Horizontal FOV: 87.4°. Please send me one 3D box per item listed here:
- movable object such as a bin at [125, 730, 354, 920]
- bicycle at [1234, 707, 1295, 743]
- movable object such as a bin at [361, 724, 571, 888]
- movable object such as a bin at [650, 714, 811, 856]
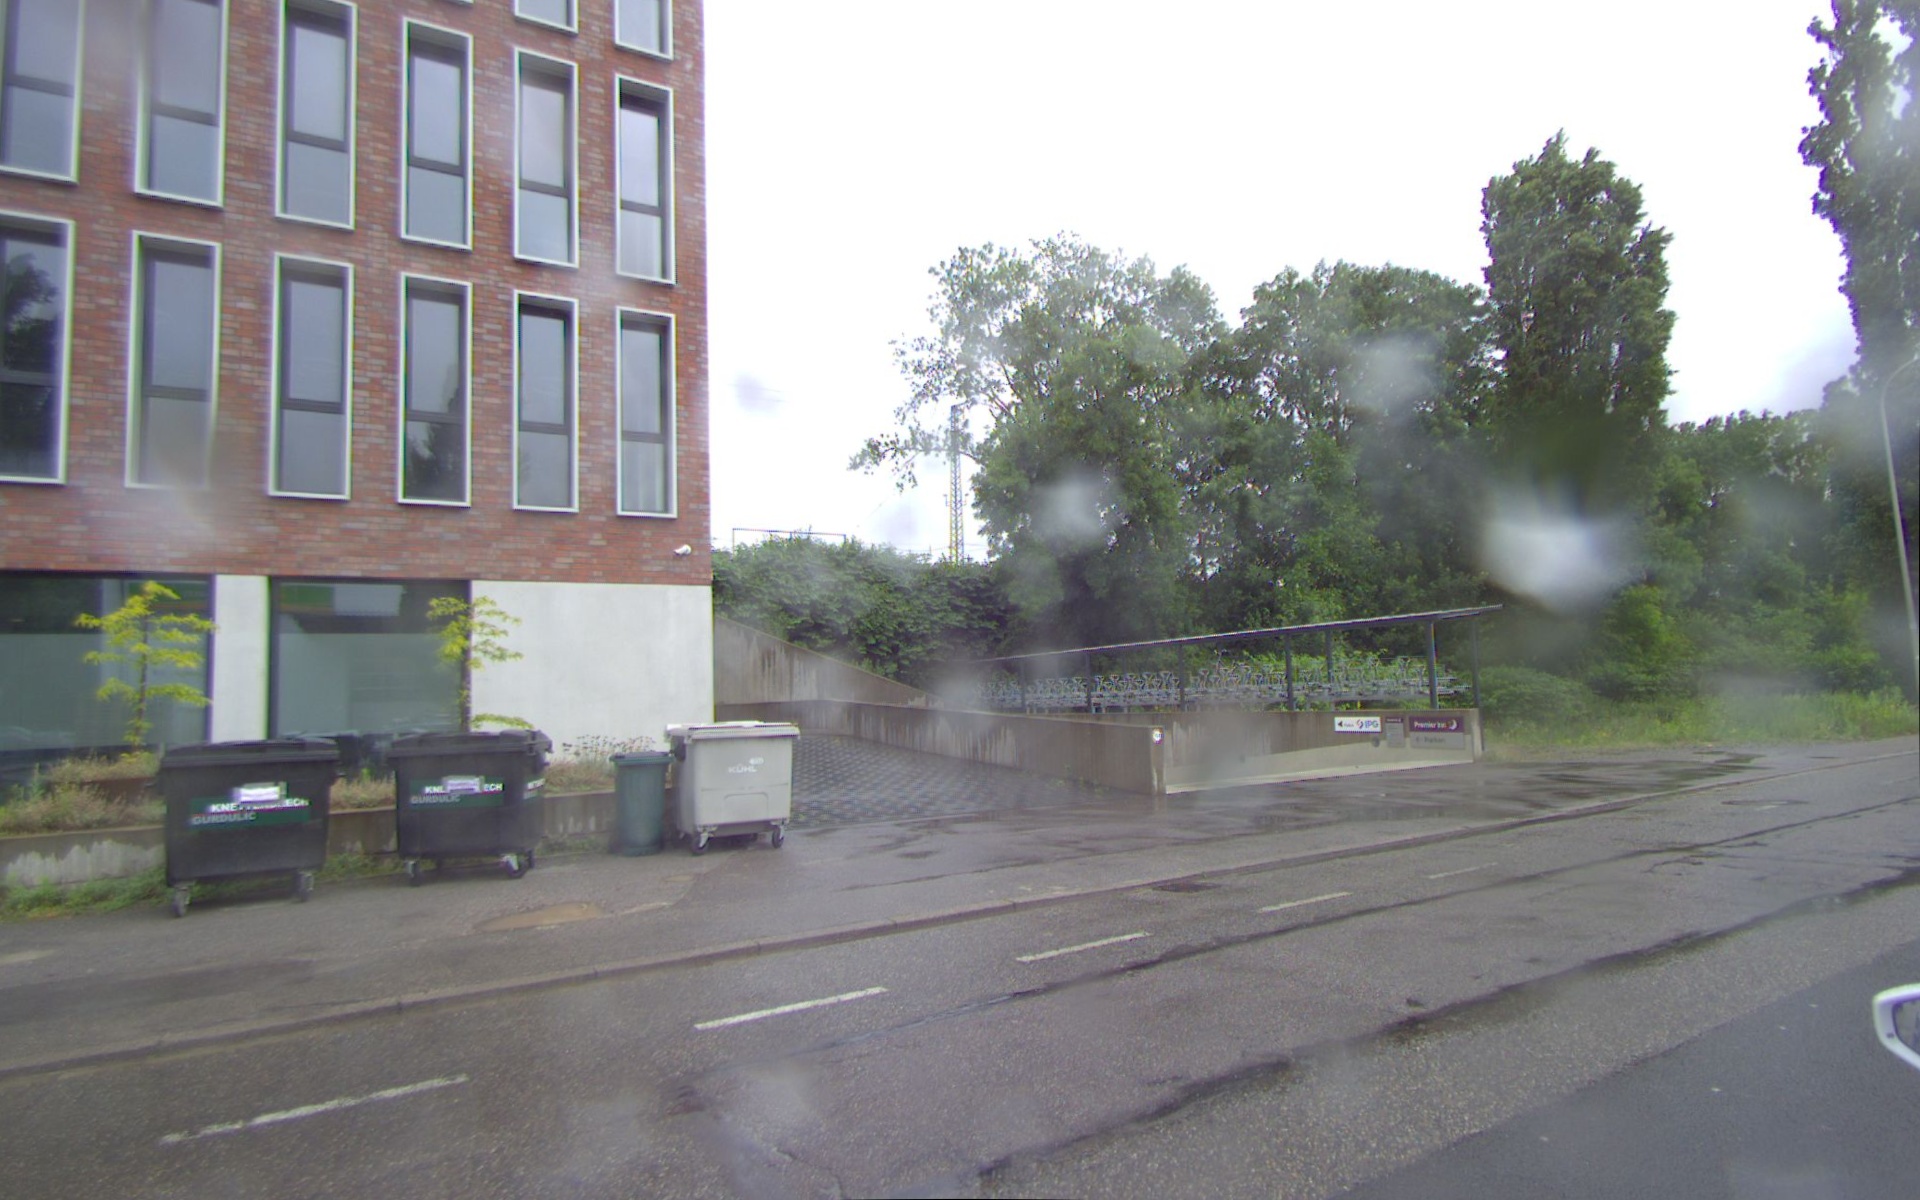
[{"bbox_3d":[-6.034,1.799,8.460,1.436,1.324,1.287,2,-7,-38],"label":"movable object such as a bin"},{"bbox_3d":[8.020,3.282,26.425,1.685,0.869,0.514,1,-7,-32],"label":"bicycle"},{"bbox_3d":[-4.577,1.877,9.489,1.422,1.324,1.377,-1,-5,-10],"label":"movable object such as a bin"},{"bbox_3d":[-2.505,1.938,10.888,1.344,1.349,1.289,2,-6,-33],"label":"movable object such as a bin"}]
